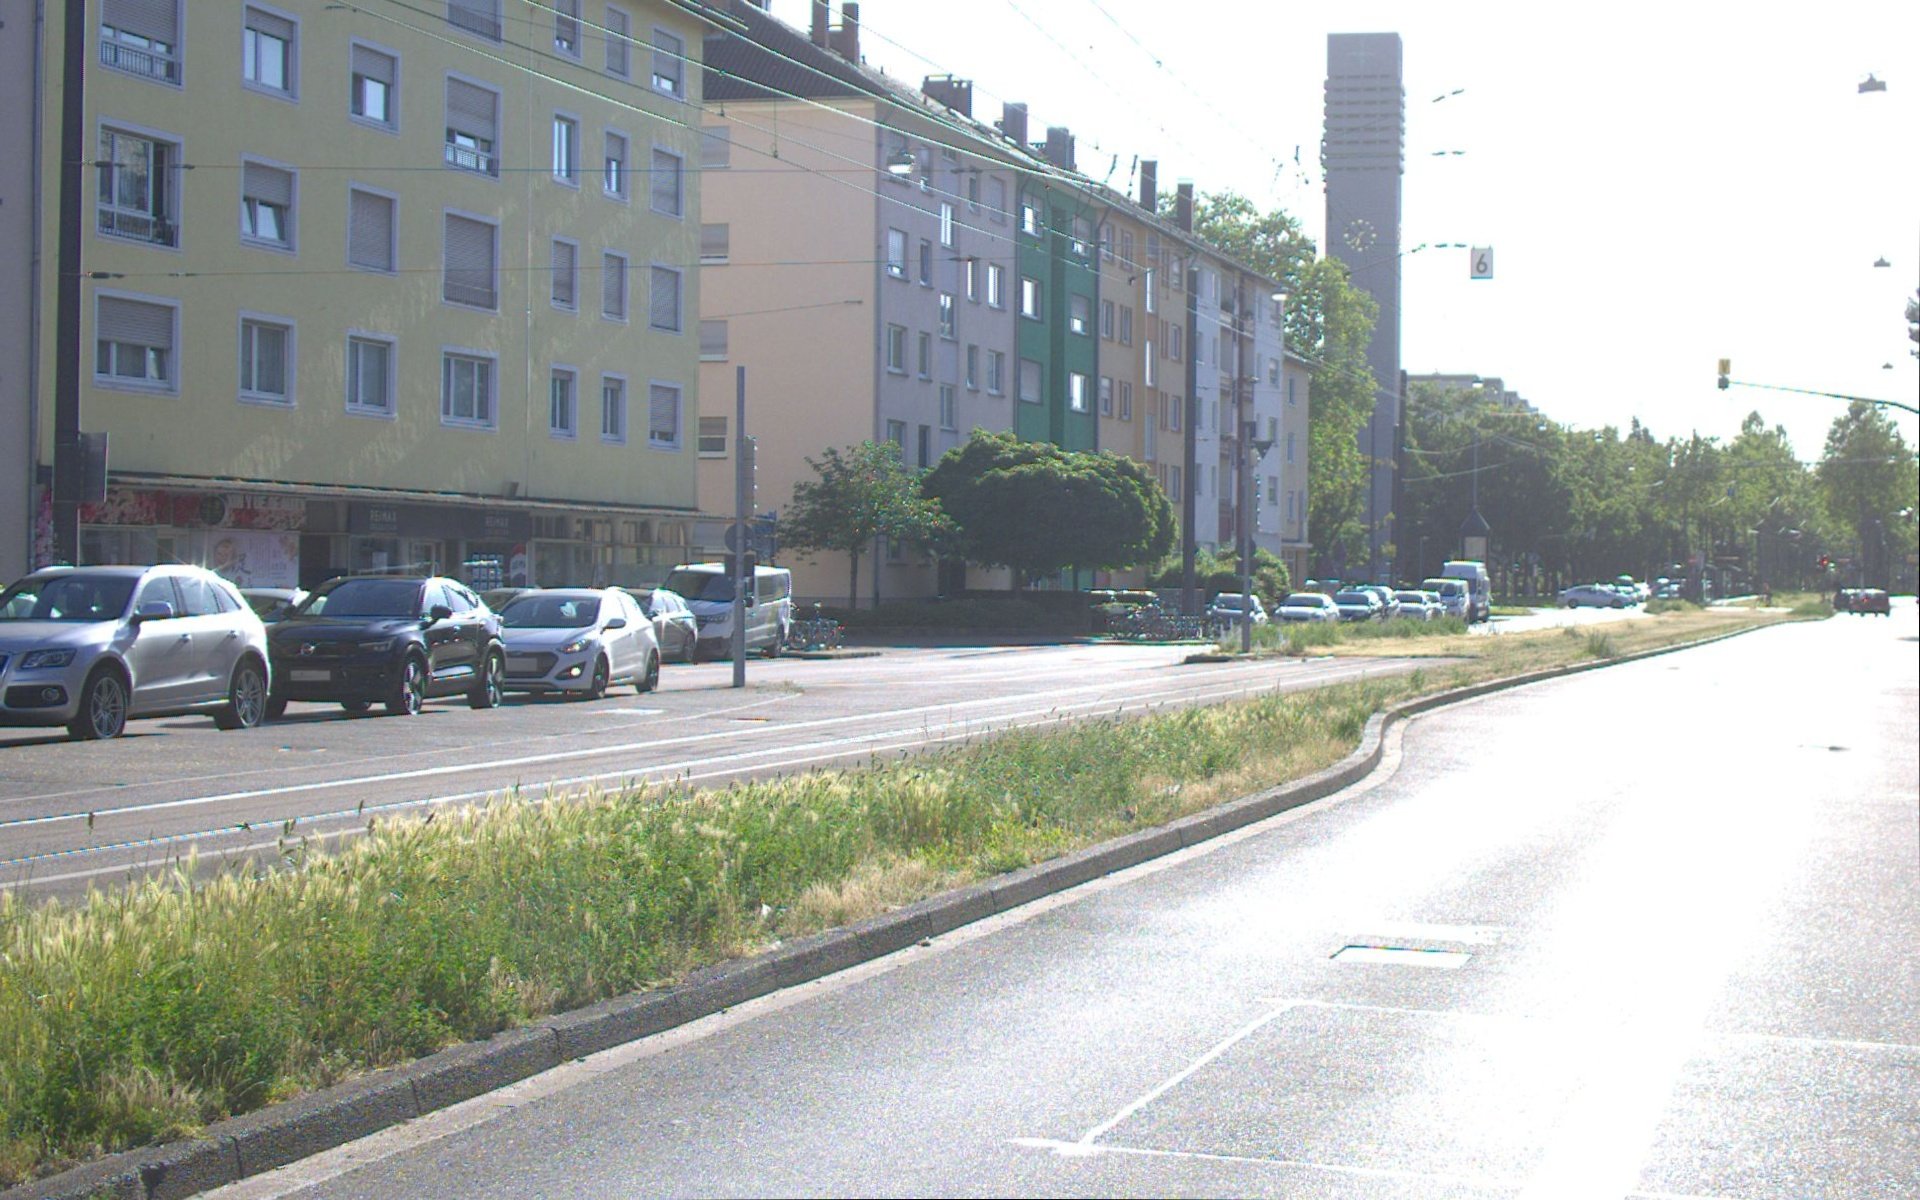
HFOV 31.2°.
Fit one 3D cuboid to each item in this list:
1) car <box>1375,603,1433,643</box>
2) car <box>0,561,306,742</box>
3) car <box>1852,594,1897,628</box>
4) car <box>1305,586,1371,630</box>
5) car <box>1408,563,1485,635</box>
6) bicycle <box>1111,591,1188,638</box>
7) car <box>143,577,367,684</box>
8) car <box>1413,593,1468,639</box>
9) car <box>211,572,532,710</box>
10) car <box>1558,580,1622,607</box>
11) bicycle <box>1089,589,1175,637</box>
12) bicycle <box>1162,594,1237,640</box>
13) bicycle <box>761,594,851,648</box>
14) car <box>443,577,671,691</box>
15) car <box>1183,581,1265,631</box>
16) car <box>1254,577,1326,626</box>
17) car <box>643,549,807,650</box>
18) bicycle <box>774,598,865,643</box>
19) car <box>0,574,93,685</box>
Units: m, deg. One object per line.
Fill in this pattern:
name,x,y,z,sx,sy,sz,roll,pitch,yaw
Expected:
car,18.699,0.973,144.634,1.995,1.548,3.997,0,-2,13
car,-8.034,0.438,32.415,1.866,1.572,4.627,-1,0,14
car,51.181,0.609,192.520,1.994,1.777,3.998,1,-2,8
car,14.380,0.305,130.545,1.995,1.548,3.997,0,-2,13
car,23.318,-0.032,164.587,2.987,3.227,6.788,0,-2,13
bicycle,5.517,0.412,100.018,2.128,1.320,0.896,1,-2,10
car,-10.882,0.435,53.315,1.833,1.576,3.798,0,1,16
car,21.799,0.737,155.863,1.995,1.958,4.748,0,-2,13
car,-6.654,0.460,39.417,1.964,1.475,4.566,0,0,14
car,40.448,-0.414,220.749,3.988,1.678,1.999,1,-2,10
bicycle,4.918,0.374,98.083,2.310,1.300,0.912,1,-2,12
bicycle,7.126,0.513,102.358,2.127,1.320,0.897,1,-2,-2
bicycle,-3.542,0.486,79.152,1.963,1.202,0.697,1,-2,-11
car,-5.332,0.451,46.019,1.824,1.441,4.282,0,0,11
car,8.324,0.198,108.218,1.995,1.448,3.997,0,-2,13
car,11.598,0.064,120.620,1.995,1.576,3.997,0,-2,13
car,-5.063,-0.008,74.892,2.005,2.098,5.302,0,0,14
bicycle,-3.311,0.482,80.993,2.074,1.019,0.803,1,-2,3
car,-13.134,0.372,44.719,1.777,1.430,4.052,0,0,16
